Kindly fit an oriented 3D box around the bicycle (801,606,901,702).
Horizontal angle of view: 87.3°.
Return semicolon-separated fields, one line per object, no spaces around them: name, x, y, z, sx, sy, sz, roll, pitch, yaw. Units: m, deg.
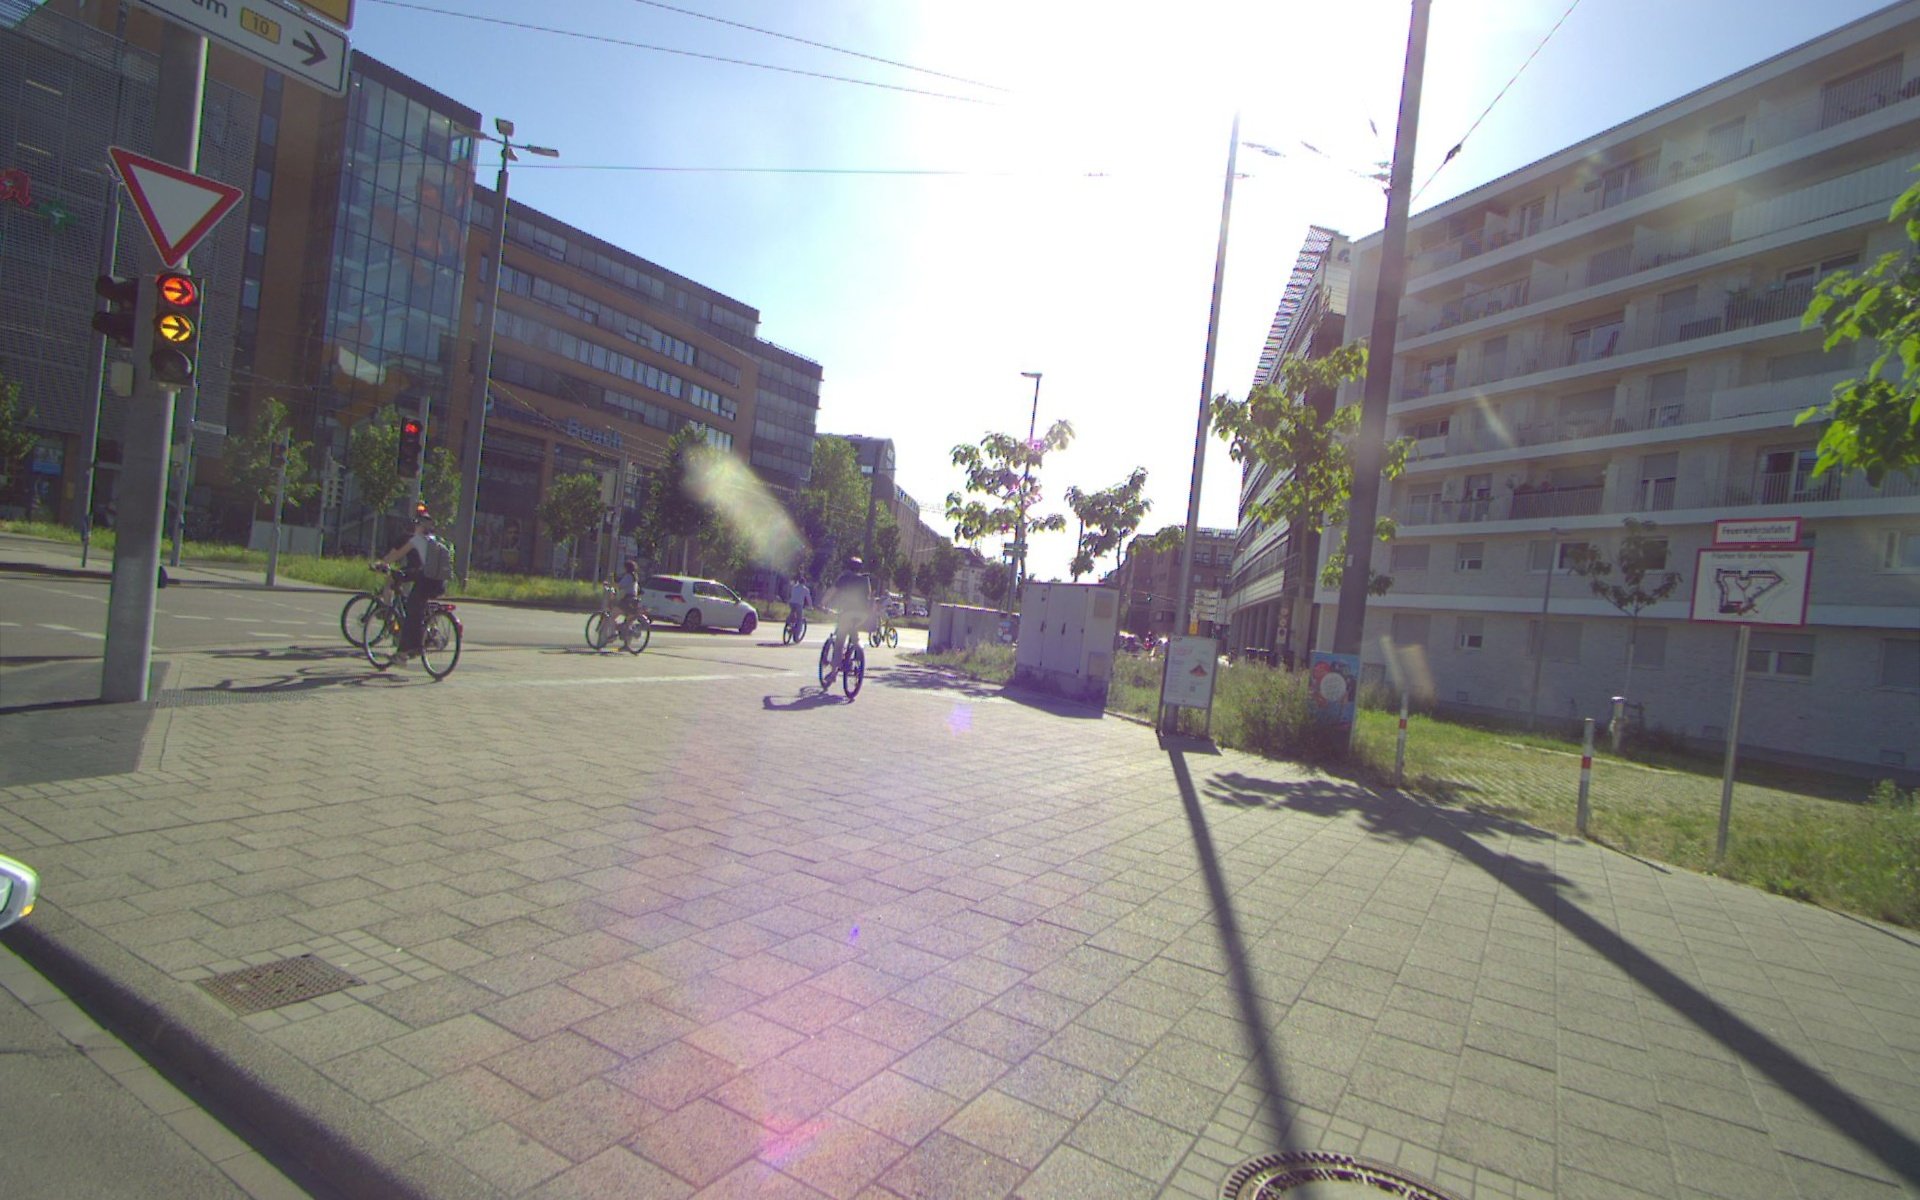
bicycle;-1.526;0.701;13.724;0.817;1.049;1.882;8;0;-20

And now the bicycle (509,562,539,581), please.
bicycle;-32.103;-2.094;74.022;2.142;1.137;0.752;8;1;27

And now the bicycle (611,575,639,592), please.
bicycle;-27.510;-1.378;82.622;2.142;1.137;0.752;8;1;27

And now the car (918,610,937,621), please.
car;-4.796;2.304;148.698;1.962;1.350;4.793;7;-1;6

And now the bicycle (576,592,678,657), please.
bicycle;-5.798;0.416;17.486;1.679;0.966;0.695;5;0;32

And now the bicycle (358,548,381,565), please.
bicycle;-35.974;-2.642;61.304;1.425;0.829;0.445;8;1;27

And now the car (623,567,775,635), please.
car;-7.239;0.083;28.383;1.746;1.420;4.292;9;0;23

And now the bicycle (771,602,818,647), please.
bicycle;-4.559;0.657;27.898;0.676;1.082;2.697;8;0;1

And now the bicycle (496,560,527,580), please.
bicycle;-32.634;-2.199;73.168;2.142;1.137;0.752;8;1;27

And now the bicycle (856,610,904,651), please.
bicycle;-2.541;0.991;32.161;0.640;1.122;1.758;5;-3;26

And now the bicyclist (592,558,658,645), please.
bicyclist;-5.817;0.034;17.465;0.814;1.421;0.588;5;1;32

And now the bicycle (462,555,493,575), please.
bicycle;-33.982;-2.477;70.837;2.142;1.137;0.752;8;1;27

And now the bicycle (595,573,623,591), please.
bicycle;-28.216;-1.440;80.931;2.142;1.137;0.752;8;1;27

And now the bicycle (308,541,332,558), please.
bicycle;-37.487;-2.939;58.892;1.425;0.829;0.445;8;1;27

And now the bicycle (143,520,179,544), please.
bicycle;-40.588;-3.440;51.099;2.142;0.966;0.492;8;1;27

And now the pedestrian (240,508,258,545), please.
pedestrian;-39.524;-4.080;55.945;0.369;1.937;0.539;6;-1;39

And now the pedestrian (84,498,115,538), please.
pedestrian;-40.374;-3.837;47.210;0.586;1.706;0.778;7;0;18

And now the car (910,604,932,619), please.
car;-5.338;1.561;137.528;1.962;1.701;4.541;7;-1;9

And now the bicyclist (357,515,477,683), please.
bicyclist;-5.843;-0.012;10.821;0.987;1.675;0.594;7;1;32

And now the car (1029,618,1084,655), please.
car;4.830;1.828;49.609;1.694;1.543;4.401;7;-1;17

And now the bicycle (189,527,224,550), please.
bicycle;-39.805;-3.255;53.134;2.142;0.966;0.492;8;1;27

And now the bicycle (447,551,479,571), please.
bicycle;-34.566;-2.707;69.933;2.142;1.137;0.752;8;1;27

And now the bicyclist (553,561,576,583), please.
bicyclist;-28.642;-2.011;72.826;0.584;1.425;1.309;7;0;33

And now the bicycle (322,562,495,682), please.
bicycle;-5.986;0.223;10.881;1.978;1.119;0.695;4;0;32

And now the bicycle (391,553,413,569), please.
bicycle;-35.156;-2.449;63.387;1.425;0.829;0.445;8;1;27

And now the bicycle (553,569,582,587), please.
bicycle;-30.105;-1.703;77.211;2.142;1.137;0.752;8;1;27

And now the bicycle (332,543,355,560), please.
bicycle;-36.971;-2.904;60.337;1.425;0.829;0.445;8;1;27

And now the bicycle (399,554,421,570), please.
bicycle;-34.905;-2.399;63.870;1.425;0.829;0.445;8;1;27

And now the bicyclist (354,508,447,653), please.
bicyclist;-7.369;-0.250;13.242;0.890;1.821;0.549;5;1;27

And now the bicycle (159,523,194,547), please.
bicycle;-40.306;-3.344;51.743;2.142;0.966;0.492;8;1;27

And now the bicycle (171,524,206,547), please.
bicycle;-40.099;-3.341;52.254;2.142;0.966;0.492;8;1;27

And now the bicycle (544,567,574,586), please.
bicycle;-30.481;-1.782;76.477;2.142;1.137;0.752;8;1;27

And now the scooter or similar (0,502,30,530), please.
scooter or similar;-44.111;-3.912;46.760;0.272;1.115;1.203;6;-2;34

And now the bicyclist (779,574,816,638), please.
bicyclist;-4.503;0.171;27.916;0.608;1.690;1.019;8;1;1

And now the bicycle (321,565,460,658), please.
bicycle;-7.553;0.144;13.324;1.862;1.051;0.605;5;1;27

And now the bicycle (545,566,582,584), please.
bicycle;-28.709;-1.777;72.809;0.588;1.023;2.563;7;-1;33

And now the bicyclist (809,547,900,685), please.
bicyclist;-1.450;0.201;13.666;0.798;1.714;1.046;8;1;-20

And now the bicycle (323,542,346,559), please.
bicycle;-37.211;-2.933;59.858;1.425;0.829;0.445;8;1;27

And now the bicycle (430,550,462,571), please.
bicycle;-35.312;-2.716;69.081;2.142;1.137;0.752;8;1;27

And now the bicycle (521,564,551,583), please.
bicycle;-31.602;-1.992;74.929;2.142;1.137;0.752;8;1;27

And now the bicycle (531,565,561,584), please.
bicycle;-31.134;-1.899;75.719;2.142;1.137;0.752;8;1;27

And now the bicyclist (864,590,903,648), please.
bicyclist;-2.449;0.616;32.265;0.640;1.774;1.044;7;1;27

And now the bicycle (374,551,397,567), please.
bicycle;-35.415;-2.539;61.998;1.425;0.829;0.445;8;1;27

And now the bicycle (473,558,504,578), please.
bicycle;-33.667;-2.292;71.886;2.142;1.137;0.752;8;1;27

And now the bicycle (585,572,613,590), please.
bicycle;-28.742;-1.489;80.143;2.142;1.137;0.752;8;1;27

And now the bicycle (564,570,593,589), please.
bicycle;-29.517;-1.599;77.873;2.142;1.137;0.752;8;1;27
